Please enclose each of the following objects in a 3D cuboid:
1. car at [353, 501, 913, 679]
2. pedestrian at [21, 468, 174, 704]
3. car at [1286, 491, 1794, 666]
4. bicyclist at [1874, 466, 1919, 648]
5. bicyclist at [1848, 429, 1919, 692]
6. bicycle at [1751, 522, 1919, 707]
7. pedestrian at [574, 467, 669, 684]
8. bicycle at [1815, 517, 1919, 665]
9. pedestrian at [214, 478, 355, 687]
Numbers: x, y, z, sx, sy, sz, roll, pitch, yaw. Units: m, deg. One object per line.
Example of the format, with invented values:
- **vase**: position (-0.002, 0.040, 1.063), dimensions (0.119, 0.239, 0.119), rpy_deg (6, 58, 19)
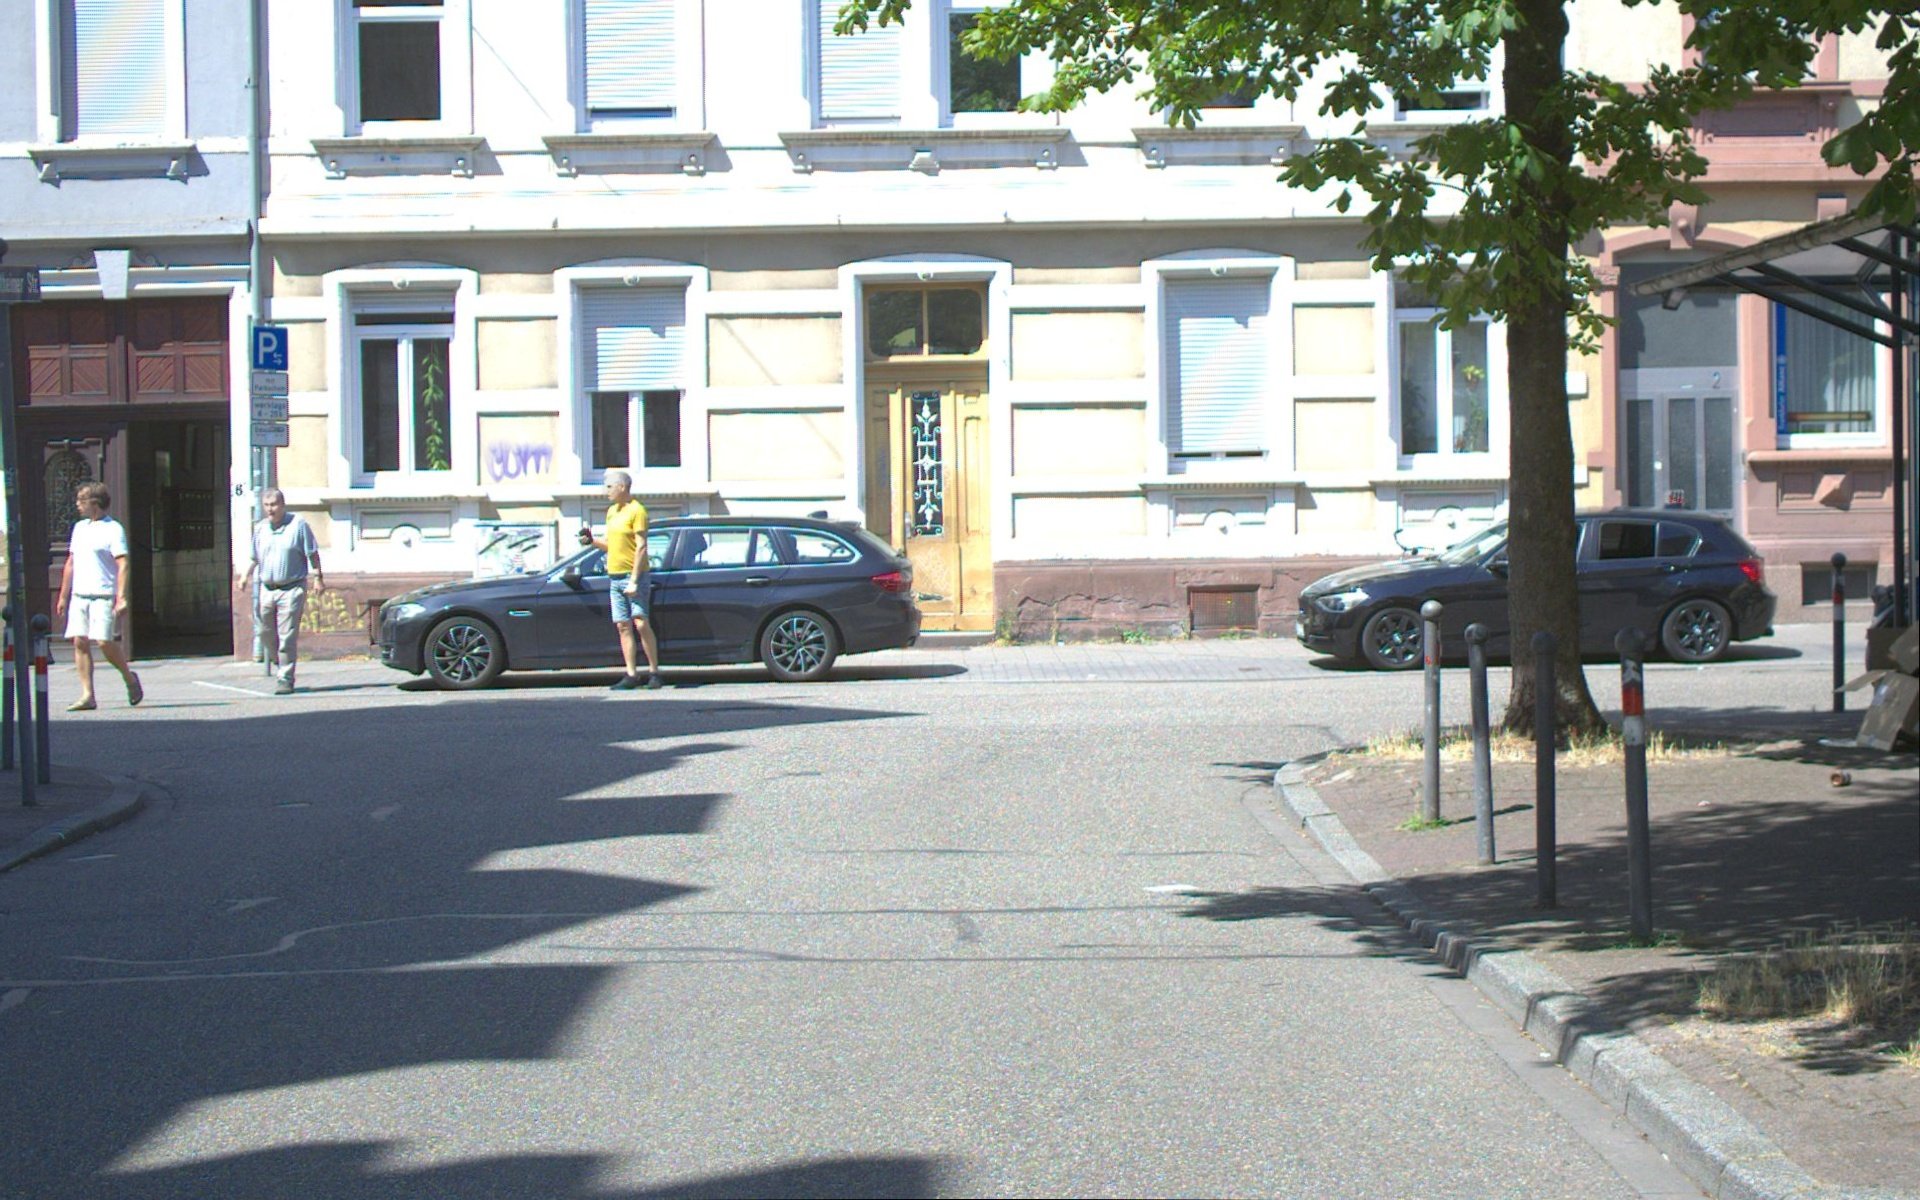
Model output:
- **car**: position (-2.880, -0.112, 31.168), dimensions (4.859, 1.432, 2.000), rpy_deg (-2, 1, 0)
- **pedestrian**: position (-7.045, -0.120, 28.119), dimensions (0.850, 1.882, 0.935), rpy_deg (-1, 1, 10)
- **car**: position (5.219, -0.219, 31.303), dimensions (4.294, 1.365, 1.807), rpy_deg (-2, 4, 0)
- **bicyclist**: position (8.208, -0.372, 29.071), dimensions (0.608, 1.527, 0.672), rpy_deg (-3, 2, -41)
- **bicyclist**: position (6.472, -0.272, 23.326), dimensions (0.607, 1.754, 0.673), rpy_deg (1, 1, -11)
- **bicycle**: position (6.654, 0.093, 23.357), dimensions (2.432, 1.224, 0.654), rpy_deg (0, 1, -12)
- **pedestrian**: position (-2.944, -0.217, 29.872), dimensions (0.724, 1.847, 0.685), rpy_deg (-2, 1, -10)
- **bicycle**: position (8.258, -0.086, 29.113), dimensions (2.434, 1.205, 0.653), rpy_deg (-1, 2, -40)
- **pedestrian**: position (-5.990, -0.160, 30.534), dimensions (0.901, 1.808, 0.960), rpy_deg (-1, 1, 9)
